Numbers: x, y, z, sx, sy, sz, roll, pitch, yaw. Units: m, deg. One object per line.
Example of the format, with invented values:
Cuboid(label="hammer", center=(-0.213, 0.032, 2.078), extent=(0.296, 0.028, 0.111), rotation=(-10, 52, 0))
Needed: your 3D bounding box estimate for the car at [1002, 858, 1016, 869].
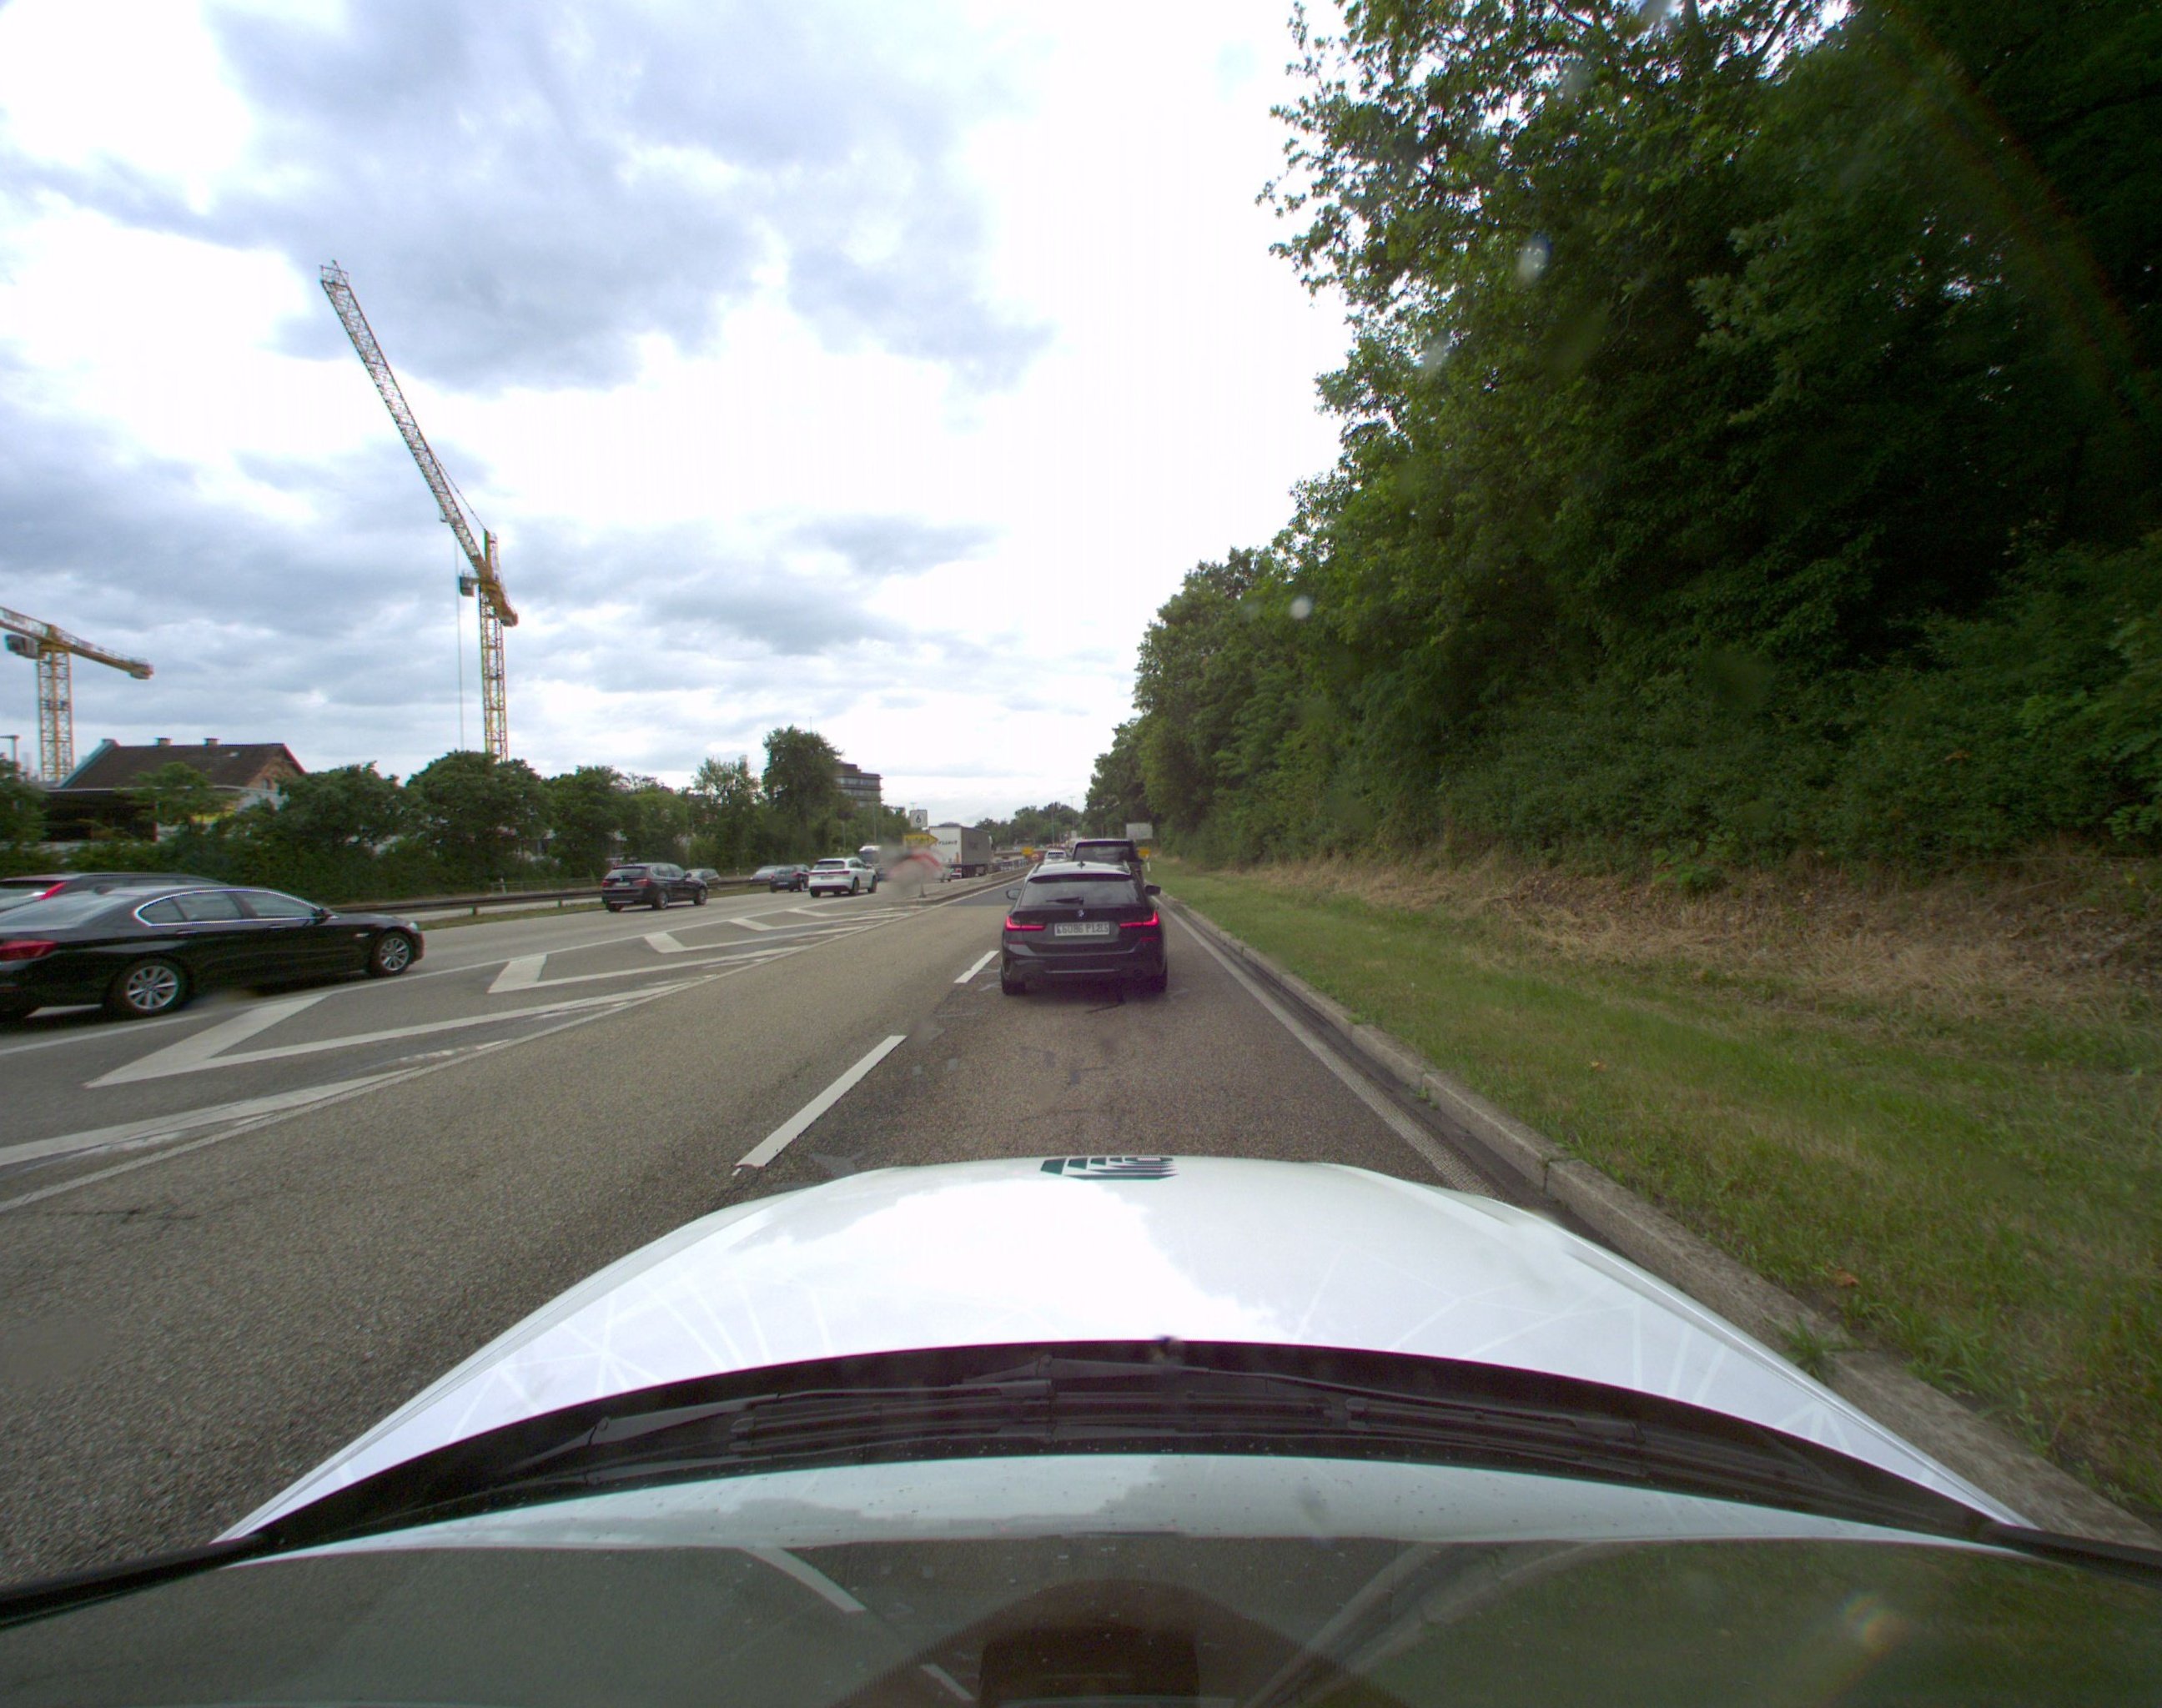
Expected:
Cuboid(label="car", center=(-9.351, 1.197, 105.431), extent=(1.372, 1.398, 3.064), rotation=(-2, 0, 2))

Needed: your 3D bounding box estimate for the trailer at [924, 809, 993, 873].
Cuboid(label="trailer", center=(-9.961, -0.934, 68.204), extent=(3.121, 4.725, 14.562), rotation=(-1, 0, 2))

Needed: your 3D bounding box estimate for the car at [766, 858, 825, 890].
Cuboid(label="car", center=(-15.365, 1.050, 44.045), extent=(1.682, 1.608, 4.008), rotation=(-1, 0, 0))

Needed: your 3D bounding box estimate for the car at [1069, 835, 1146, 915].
Cuboid(label="car", center=(0.694, 0.492, 21.525), extent=(1.789, 1.872, 4.002), rotation=(-2, 0, 2))

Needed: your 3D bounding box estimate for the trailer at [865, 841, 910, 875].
Cuboid(label="trailer", center=(-24.652, 0.430, 104.564), extent=(2.389, 4.029, 13.079), rotation=(-2, 0, 1))

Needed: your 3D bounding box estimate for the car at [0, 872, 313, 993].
Cuboid(label="car", center=(-16.089, 1.198, 13.920), extent=(1.745, 1.635, 4.268), rotation=(-2, 0, 2))

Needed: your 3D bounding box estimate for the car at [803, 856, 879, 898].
Cuboid(label="car", center=(-10.683, 0.965, 36.637), extent=(1.939, 1.692, 4.508), rotation=(-2, 0, 1))

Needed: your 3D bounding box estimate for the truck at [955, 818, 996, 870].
Cuboid(label="truck", center=(-9.768, -0.883, 75.557), extent=(3.073, 4.697, 4.233), rotation=(-1, 0, 1))

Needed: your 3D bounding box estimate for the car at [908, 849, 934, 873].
Cuboid(label="car", center=(-14.436, 0.643, 73.761), extent=(1.438, 2.044, 3.683), rotation=(-2, 0, 2))

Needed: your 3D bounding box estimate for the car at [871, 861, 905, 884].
Cuboid(label="car", center=(-14.931, 1.390, 63.033), extent=(1.682, 1.632, 3.734), rotation=(-1, 0, 0))

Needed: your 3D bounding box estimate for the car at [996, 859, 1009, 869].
Cuboid(label="car", center=(-12.274, 1.536, 127.903), extent=(1.587, 1.432, 3.064), rotation=(-2, 0, 2))

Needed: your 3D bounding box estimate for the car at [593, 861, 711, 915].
Cuboid(label="car", center=(-15.394, 1.173, 29.506), extent=(1.884, 1.681, 4.306), rotation=(-2, 0, 0))

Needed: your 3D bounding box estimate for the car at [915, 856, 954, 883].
Cuboid(label="car", center=(-9.404, 0.976, 52.483), extent=(1.763, 1.549, 3.492), rotation=(-2, 0, 0))

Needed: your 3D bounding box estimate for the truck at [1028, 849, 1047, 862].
Cuboid(label="truck", center=(-9.160, 0.347, 172.142), extent=(3.262, 2.509, 7.662), rotation=(-2, 0, 1))

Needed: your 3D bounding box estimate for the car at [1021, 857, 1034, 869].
Cuboid(label="car", center=(-7.543, 1.260, 115.905), extent=(1.442, 1.490, 3.064), rotation=(-2, 0, 2))

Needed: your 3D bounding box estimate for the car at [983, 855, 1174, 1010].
Cuboid(label="car", center=(-0.021, 0.775, 10.016), extent=(1.840, 1.466, 3.999), rotation=(-2, 0, 0))

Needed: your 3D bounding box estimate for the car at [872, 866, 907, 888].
Cuboid(label="car", center=(-12.701, 1.511, 54.174), extent=(1.380, 1.306, 3.352), rotation=(-2, 0, 2))

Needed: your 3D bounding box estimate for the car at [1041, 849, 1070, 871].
Cuboid(label="car", center=(-1.954, 0.463, 63.374), extent=(1.923, 1.596, 3.880), rotation=(-2, 0, 3))

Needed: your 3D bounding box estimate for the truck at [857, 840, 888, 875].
Cuboid(label="truck", center=(-24.770, 0.443, 96.779), extent=(2.398, 4.020, 4.000), rotation=(-2, 0, 1))

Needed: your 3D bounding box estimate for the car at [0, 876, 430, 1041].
Cuboid(label="car", center=(-11.079, 1.104, 10.288), extent=(1.705, 1.456, 4.671), rotation=(-2, 0, 4))
